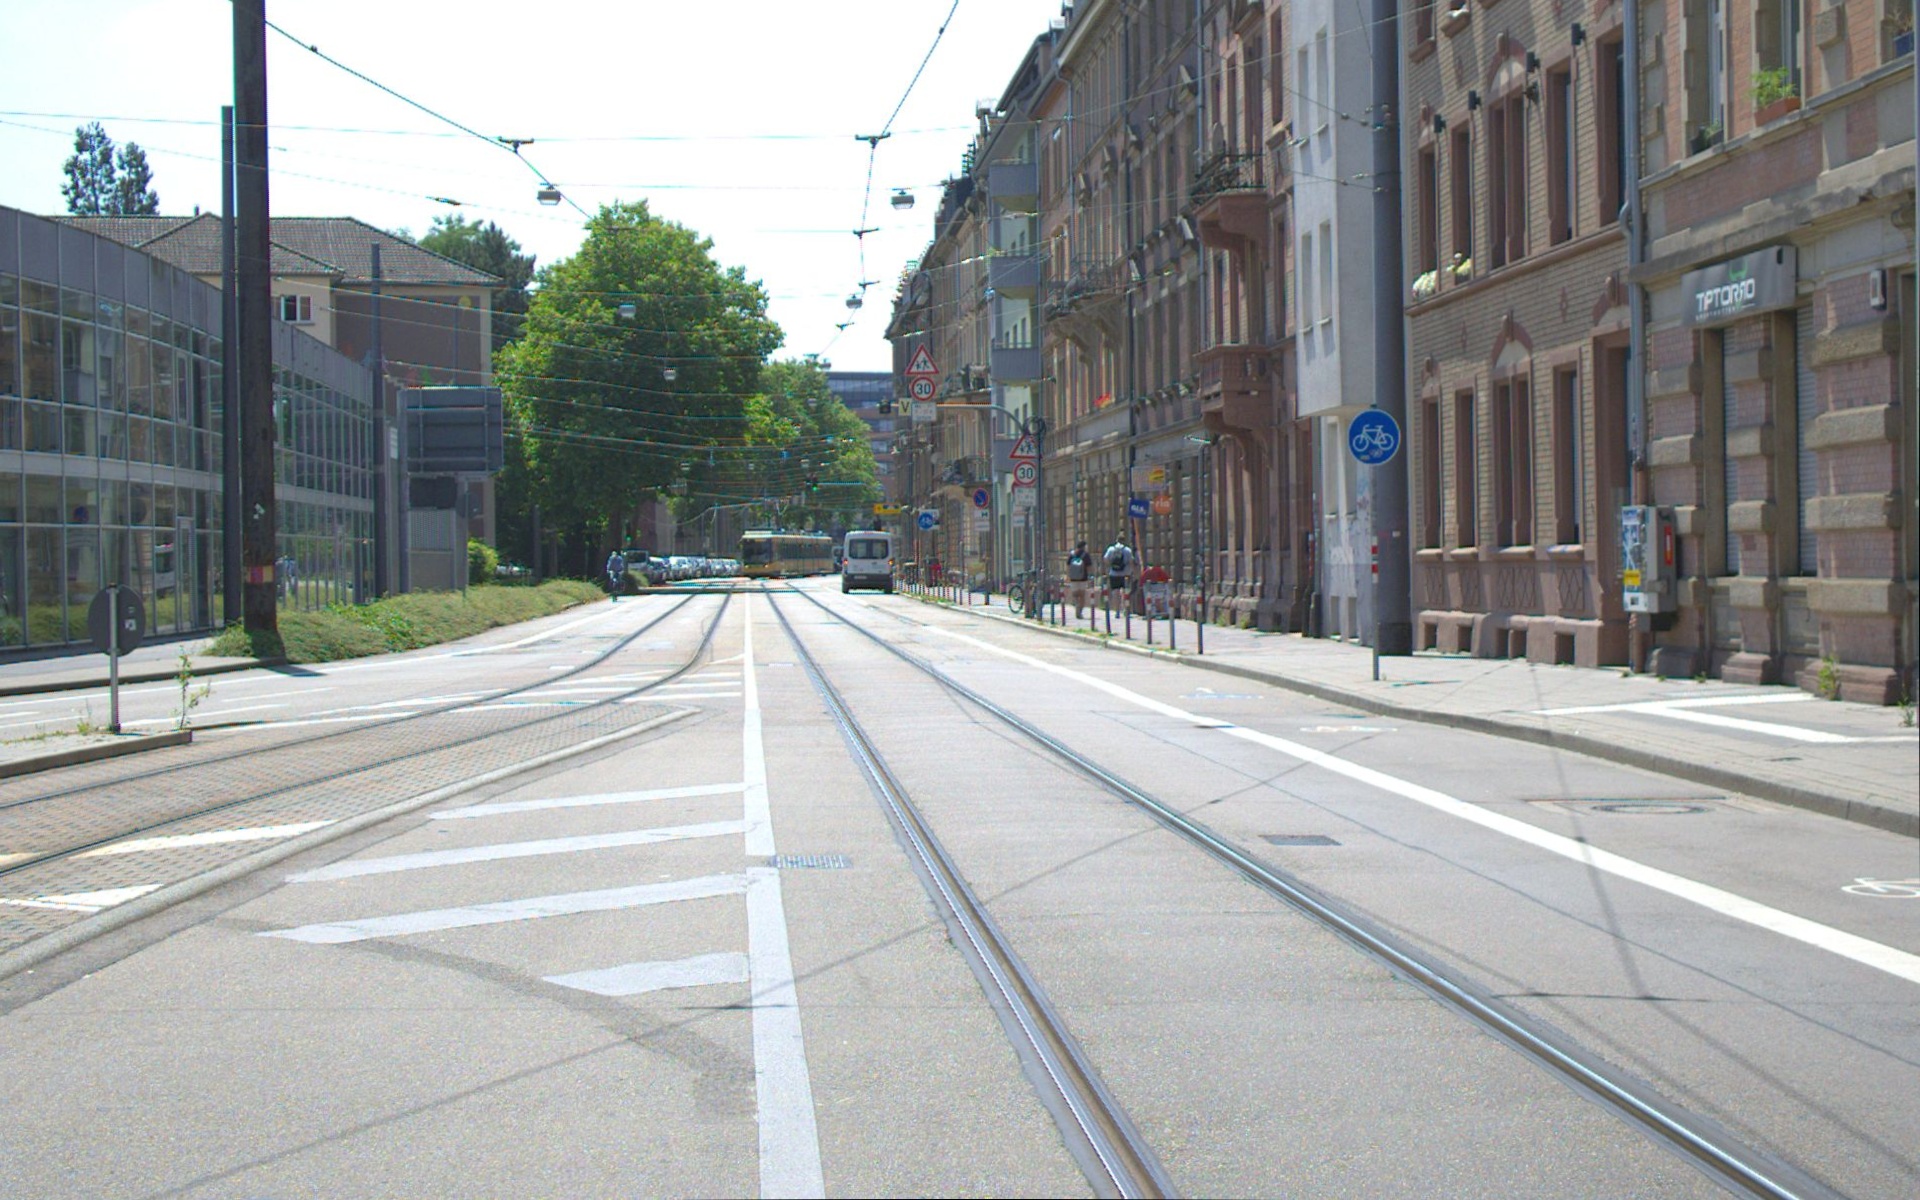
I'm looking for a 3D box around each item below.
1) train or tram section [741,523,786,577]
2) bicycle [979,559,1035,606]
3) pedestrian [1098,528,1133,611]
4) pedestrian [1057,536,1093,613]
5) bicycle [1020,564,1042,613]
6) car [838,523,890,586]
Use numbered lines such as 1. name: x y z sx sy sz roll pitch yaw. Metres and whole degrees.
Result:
1. train or tram section: -13.684 -3.479 238.554 2.960 3.568 13.425 -1 1 -4
2. bicycle: 1.201 -0.453 86.948 0.499 1.127 2.240 -1 1 25
3. pedestrian: 3.496 -0.685 77.357 0.702 1.842 0.644 -1 1 -2
4. pedestrian: 2.596 -0.583 77.635 0.720 1.714 0.644 -1 1 -2
5. bicycle: 1.655 -0.271 79.425 0.447 1.093 2.422 -1 1 2
6. car: -3.963 -1.868 141.065 2.067 2.492 5.455 0 1 -2
